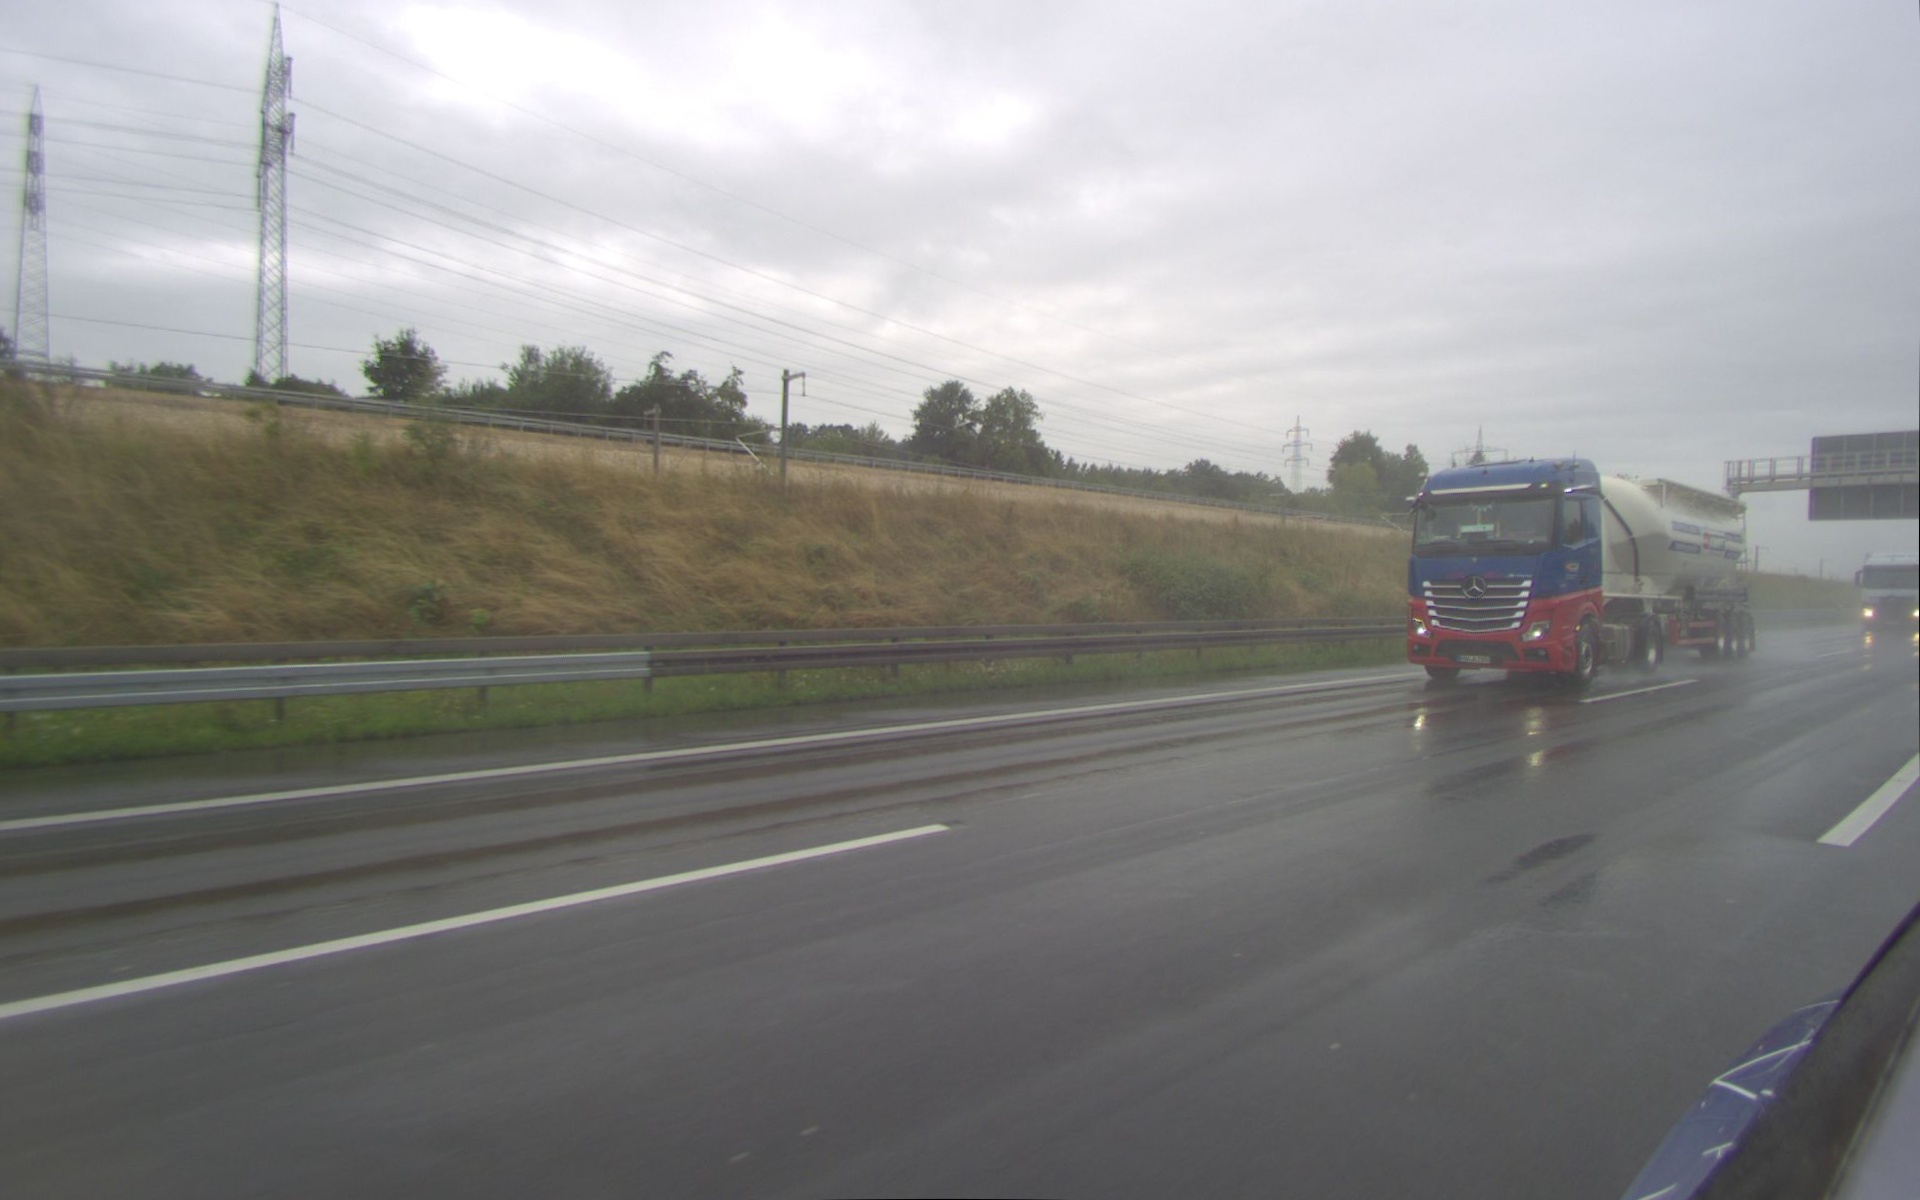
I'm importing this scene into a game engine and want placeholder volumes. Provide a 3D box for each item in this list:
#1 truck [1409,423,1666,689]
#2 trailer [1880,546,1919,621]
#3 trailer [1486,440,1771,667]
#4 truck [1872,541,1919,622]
[{"bbox_3d":[10.336,-0.640,17.945,4.987,4.034,2.500,1,-1,-42],"label":"truck"},{"bbox_3d":[54.834,-0.724,57.088,16.254,3.814,2.484,1,-1,-41],"label":"trailer"},{"bbox_3d":[14.971,-0.740,22.076,10.874,3.932,2.501,1,-1,-42],"label":"trailer"},{"bbox_3d":[48.957,-0.870,51.925,6.089,3.939,2.456,1,-1,-41],"label":"truck"}]
